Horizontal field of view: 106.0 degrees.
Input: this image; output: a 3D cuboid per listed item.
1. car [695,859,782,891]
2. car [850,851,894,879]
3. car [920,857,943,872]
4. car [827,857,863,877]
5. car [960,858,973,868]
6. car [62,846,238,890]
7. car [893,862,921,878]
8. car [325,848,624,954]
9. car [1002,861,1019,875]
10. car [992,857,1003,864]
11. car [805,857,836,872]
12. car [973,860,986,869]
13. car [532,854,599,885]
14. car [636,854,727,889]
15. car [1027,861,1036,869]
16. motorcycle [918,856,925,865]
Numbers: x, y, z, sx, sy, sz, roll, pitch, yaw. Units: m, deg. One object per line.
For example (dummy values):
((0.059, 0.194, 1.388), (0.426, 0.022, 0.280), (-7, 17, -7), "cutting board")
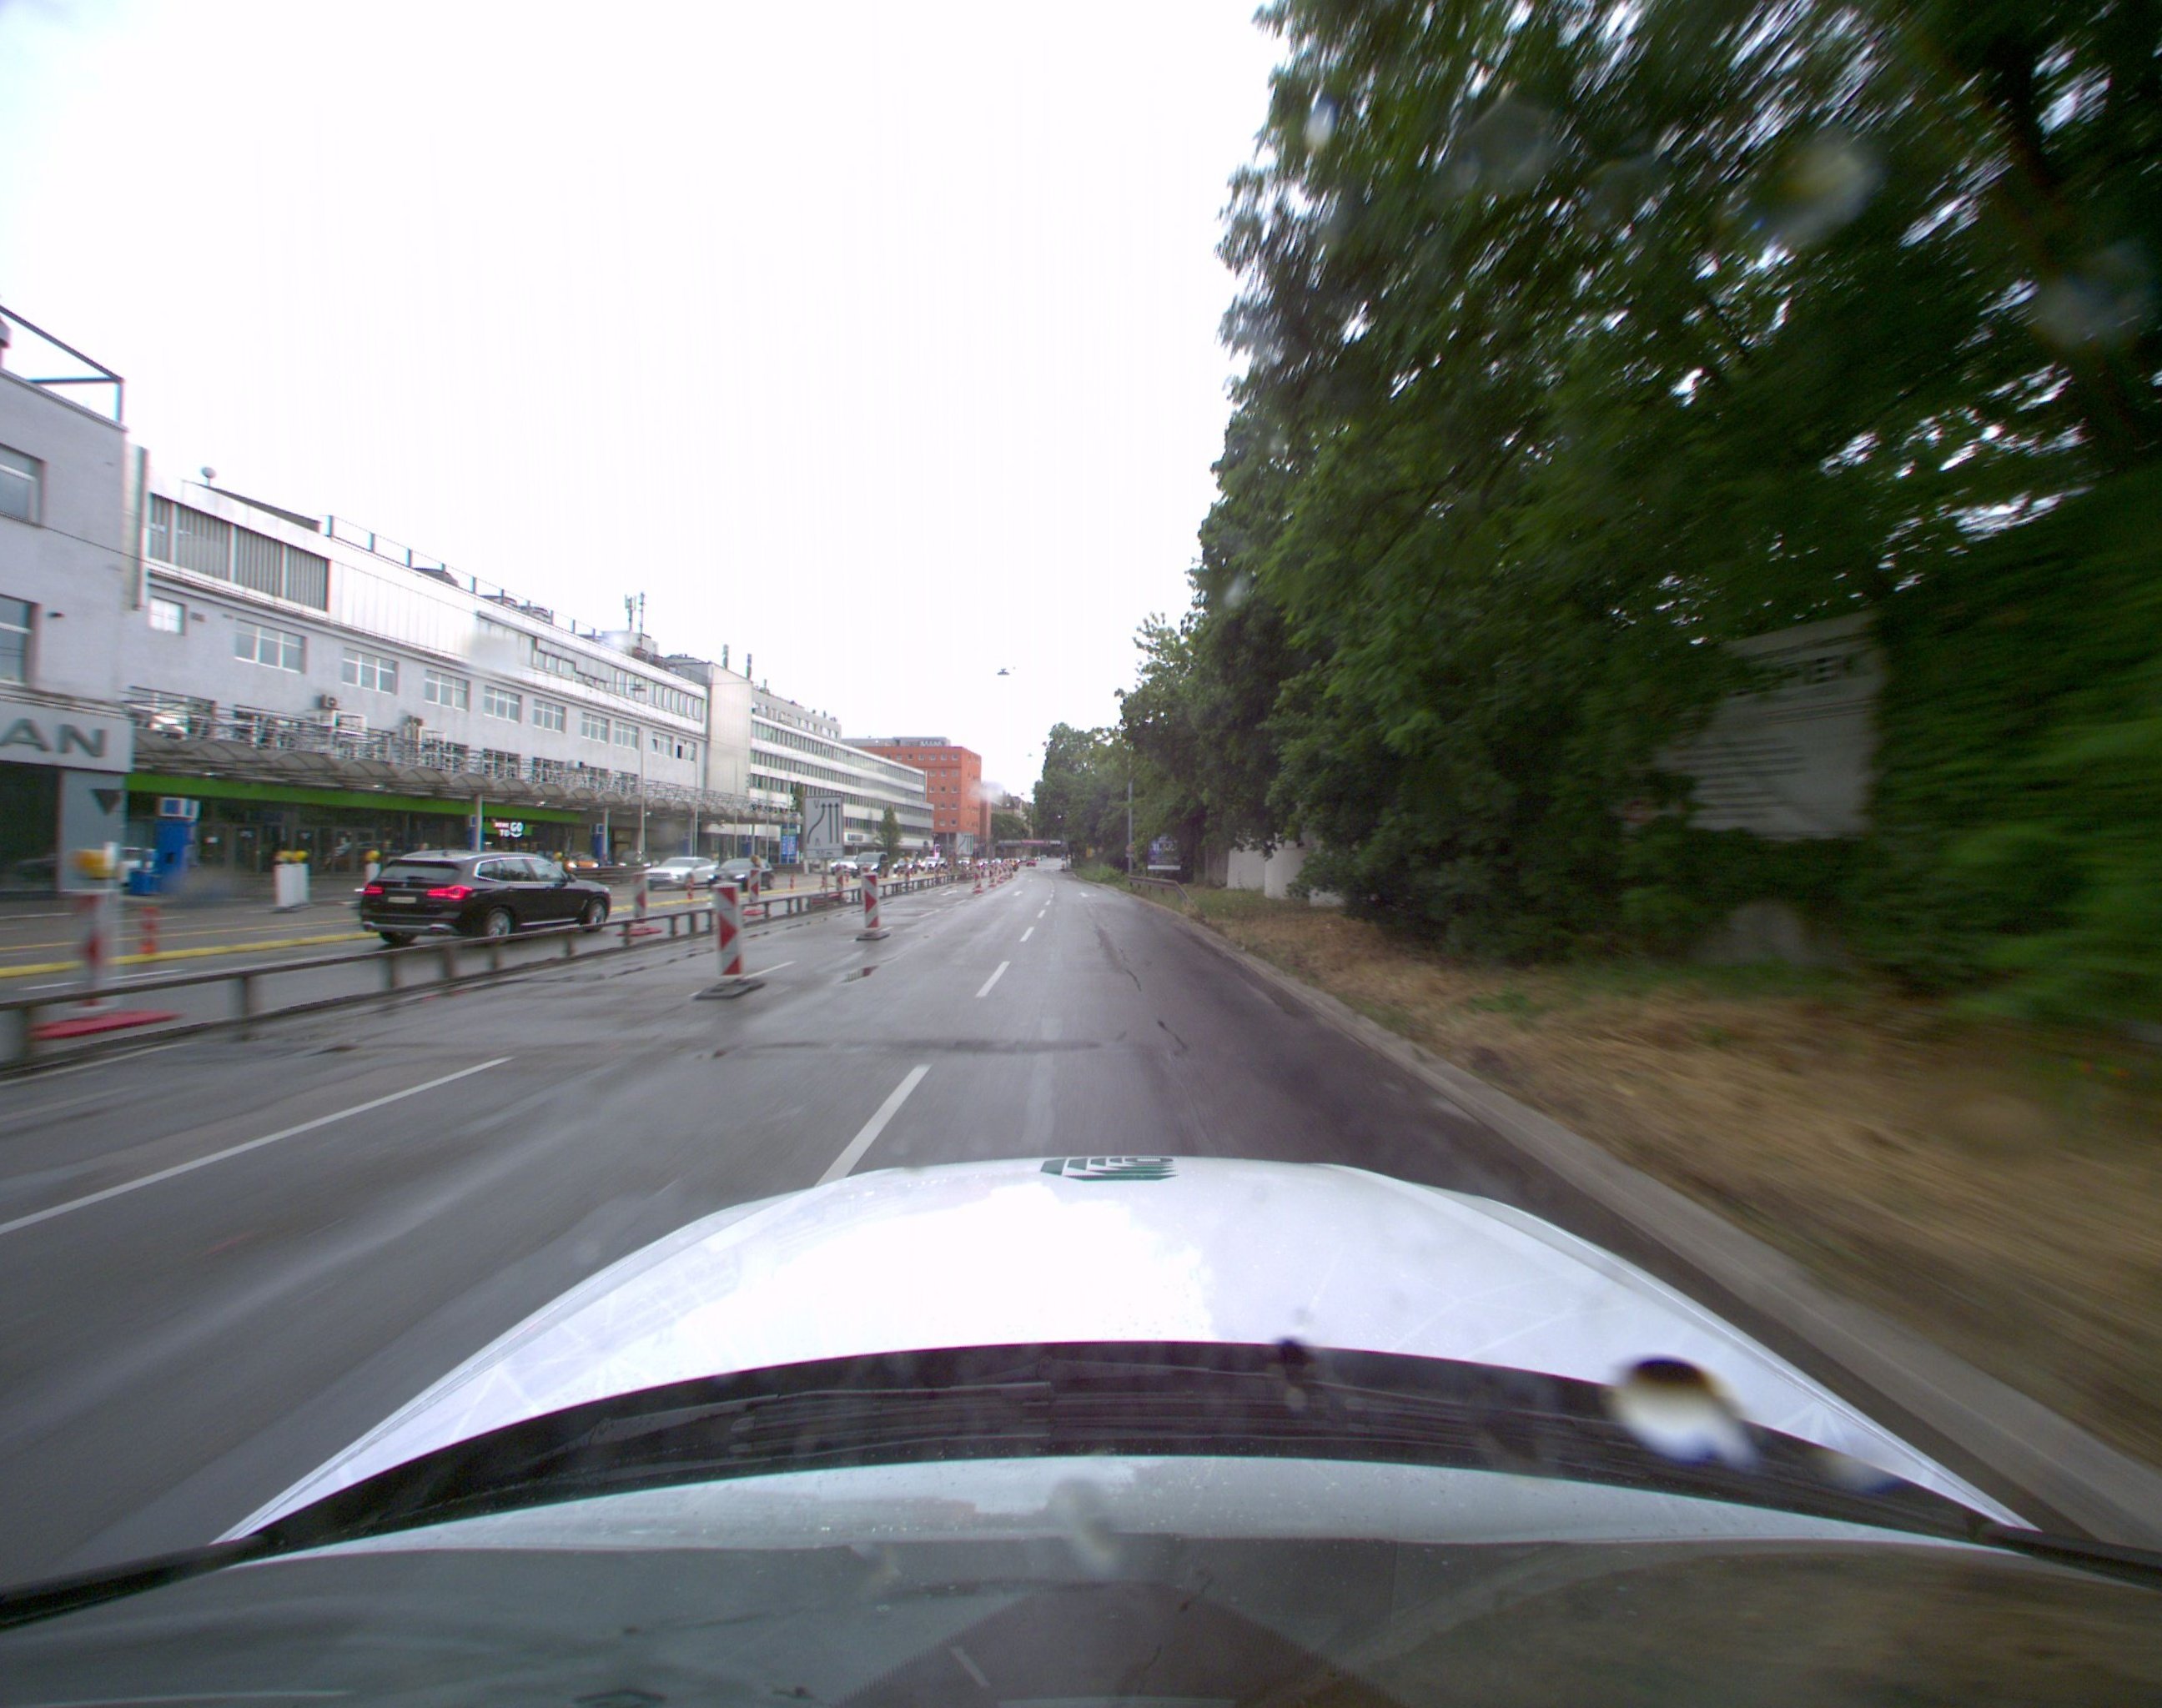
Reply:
((-15.254, 0.915, 36.563), (1.791, 1.351, 4.813), (0, -1, 1), "car")
((-15.443, 0.824, 60.415), (1.988, 1.937, 5.227), (0, -1, -2), "car")
((-17.224, 1.230, 94.062), (1.933, 1.690, 4.576), (0, 0, -2), "car")
((-19.267, 1.049, 66.747), (1.742, 1.585, 4.262), (0, -1, -1), "car")
((-20.597, 1.644, 146.769), (1.975, 1.707, 4.826), (1, -1, -3), "car")
((-33.553, 0.498, 29.545), (1.807, 1.483, 3.966), (0, -1, 0), "car")
((-16.557, 1.484, 77.713), (1.846, 1.466, 4.703), (0, -1, -2), "car")
((-11.041, 0.732, 15.395), (1.940, 1.597, 4.673), (3, 1, 2), "car")
((-9.919, 1.953, 114.909), (2.116, 1.734, 4.194), (3, 1, -3), "car")
((-19.295, 1.479, 187.853), (1.800, 1.558, 4.303), (1, -1, 3), "car")
((-33.017, 1.332, 103.425), (1.838, 1.779, 4.741), (0, -1, 9), "car")
((-17.416, 1.795, 139.746), (1.731, 1.404, 4.284), (2, -1, -3), "car")
((-30.660, 0.927, 48.413), (4.388, 1.770, 1.980), (-1, -1, 38), "car")
((-18.132, 0.768, 37.223), (1.776, 1.508, 4.524), (0, -1, 2), "car")
((-10.728, 2.359, 176.112), (1.758, 1.697, 3.704), (0, -1, 0), "car")
((-20.176, 0.856, 103.071), (0.577, 1.102, 2.026), (0, -1, -1), "motorcycle")
